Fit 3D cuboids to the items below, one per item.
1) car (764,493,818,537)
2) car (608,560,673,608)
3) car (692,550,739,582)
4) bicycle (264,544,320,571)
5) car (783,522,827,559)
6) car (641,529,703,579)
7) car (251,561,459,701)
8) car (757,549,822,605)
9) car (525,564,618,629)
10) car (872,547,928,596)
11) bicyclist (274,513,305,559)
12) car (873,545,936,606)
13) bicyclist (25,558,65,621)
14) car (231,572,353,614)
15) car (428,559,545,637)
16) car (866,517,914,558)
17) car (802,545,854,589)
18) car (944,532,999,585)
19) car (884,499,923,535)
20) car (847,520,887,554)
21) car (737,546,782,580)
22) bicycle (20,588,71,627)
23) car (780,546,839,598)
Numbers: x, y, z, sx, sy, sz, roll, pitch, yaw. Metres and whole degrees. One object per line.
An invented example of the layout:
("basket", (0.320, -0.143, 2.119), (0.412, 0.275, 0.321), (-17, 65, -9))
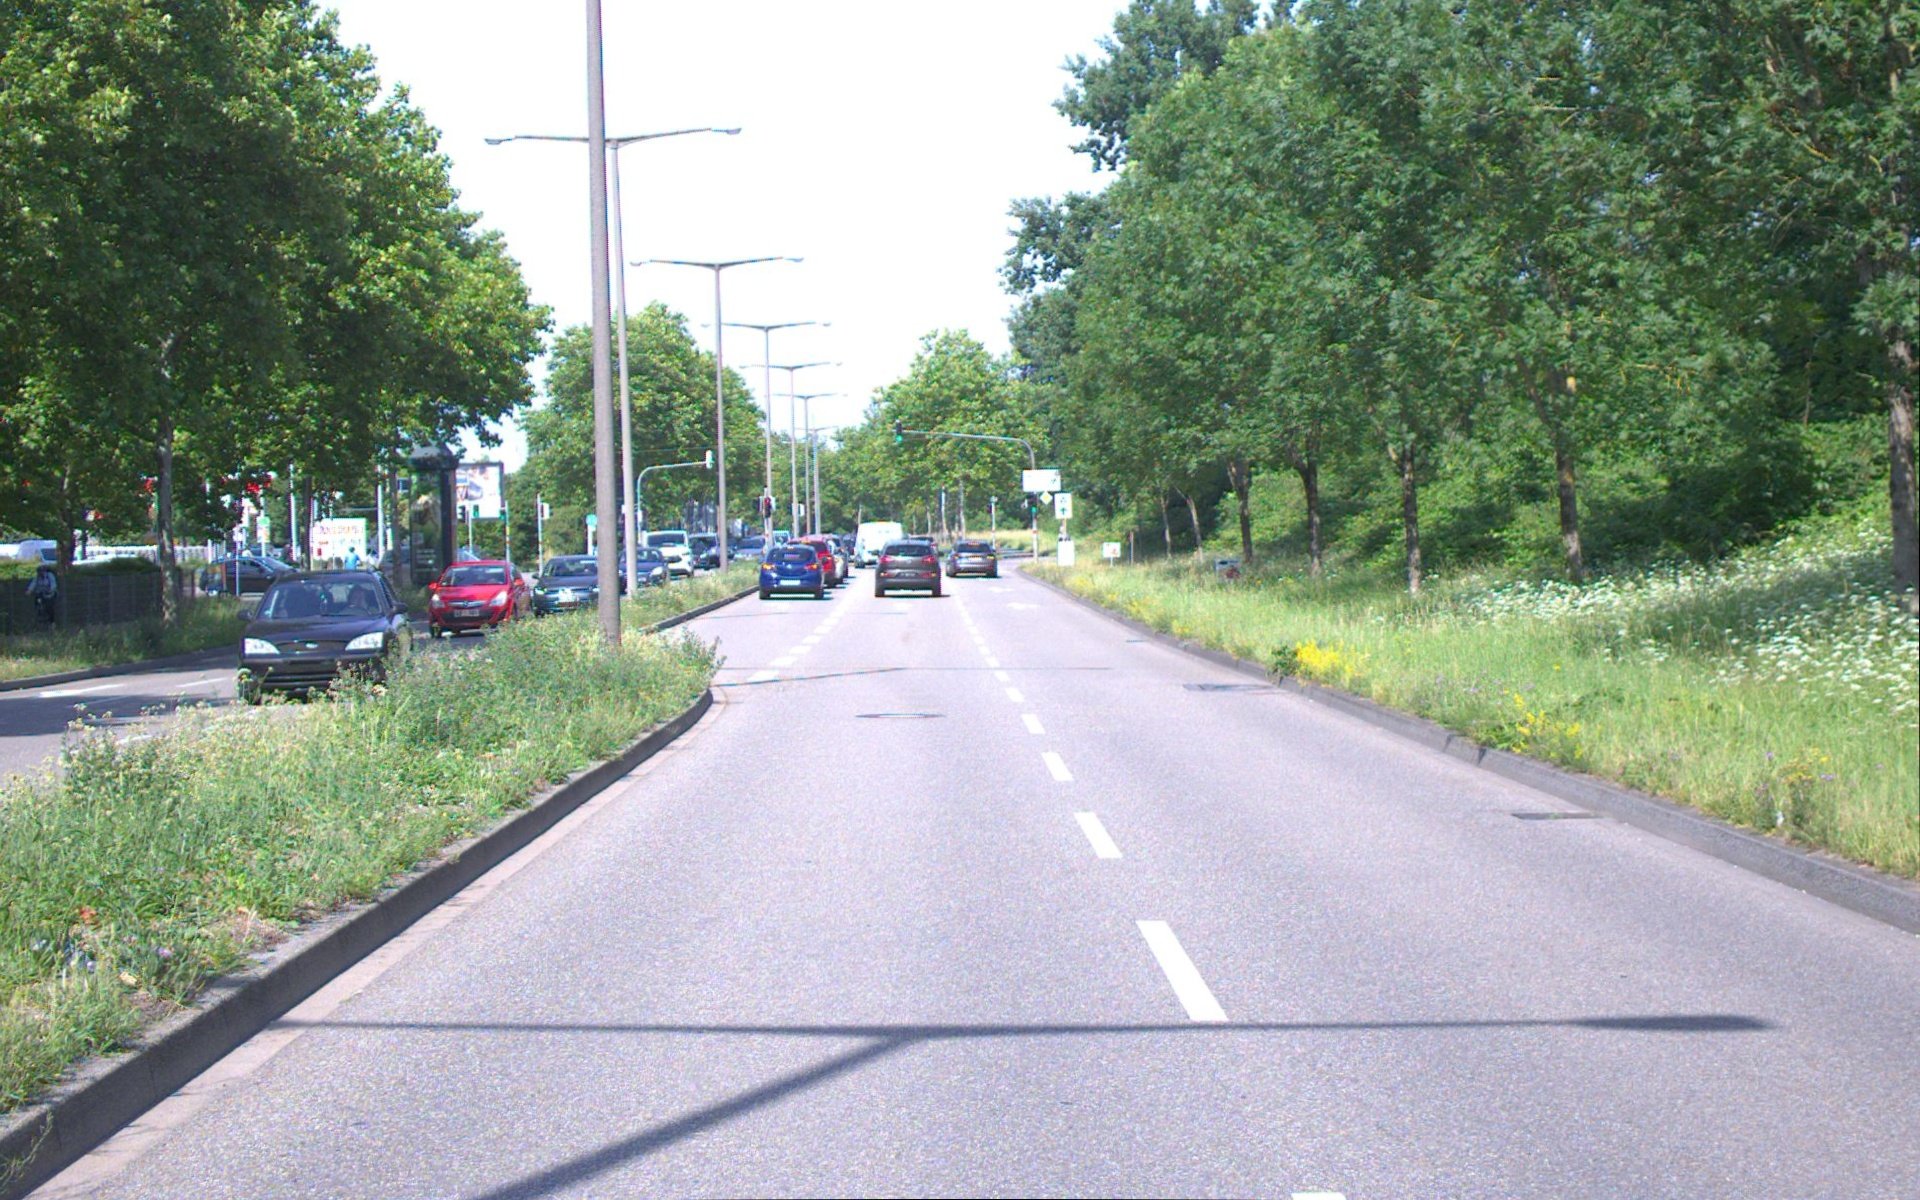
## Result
("car", (-6.804, -3.403, 138.612), (1.993, 1.702, 4.263), (-1, 1, -1))
("car", (-10.332, -0.530, 111.290), (1.768, 1.464, 4.284), (-2, 1, -1))
("car", (-12.148, -1.694, 170.822), (1.993, 1.525, 4.682), (-2, 1, -1))
("bicycle", (-25.742, -1.638, 132.468), (1.948, 0.979, 0.789), (-3, 4, -36))
("car", (-7.969, -3.046, 177.413), (1.993, 1.853, 4.000), (-1, 1, 1))
("car", (-11.379, -1.834, 136.074), (2.116, 1.877, 5.420), (-2, 1, -2))
("car", (-6.913, 0.310, 39.678), (1.772, 1.462, 4.672), (-2, 1, -3))
("car", (-4.638, -0.646, 93.885), (1.626, 1.478, 4.049), (1, 1, -1))
("car", (-9.448, -0.107, 83.938), (1.839, 1.473, 4.166), (-2, 1, -1))
("car", (-2.213, -1.053, 127.510), (1.993, 1.738, 4.265), (-1, 1, -1))
("bicyclist", (-25.833, -2.478, 132.363), (0.897, 1.709, 0.783), (-3, 4, -36))
("car", (-1.552, -0.706, 97.294), (1.736, 1.530, 4.001), (0, 3, 0))
("bicyclist", (-21.926, -0.254, 82.399), (0.681, 1.480, 0.942), (-2, 1, -1))
("car", (-23.899, -0.250, 122.995), (3.992, 1.383, 1.763), (0, 2, 26))
("car", (-9.535, -0.062, 69.503), (1.763, 1.457, 4.000), (-2, 1, 0))
("car", (-3.049, -2.712, 150.128), (1.993, 1.702, 4.263), (-1, 1, 0))
("car", (-4.993, -1.260, 130.230), (1.881, 1.612, 4.213), (-1, 1, -1))
("car", (0.419, -1.583, 131.108), (2.018, 1.831, 4.001), (0, 3, 0))
("car", (-3.330, -4.857, 201.494), (1.993, 2.007, 4.001), (-1, 1, -4))
("car", (-4.729, -3.195, 174.857), (1.934, 1.641, 4.000), (-1, 1, 0))
("car", (-10.737, -2.009, 184.436), (1.993, 1.769, 4.000), (-1, 1, 2))
("bicycle", (-21.907, 0.175, 82.390), (0.689, 0.863, 1.926), (-2, 1, -1))
("car", (-4.770, -0.910, 109.611), (1.782, 1.587, 4.594), (0, 1, -1))
